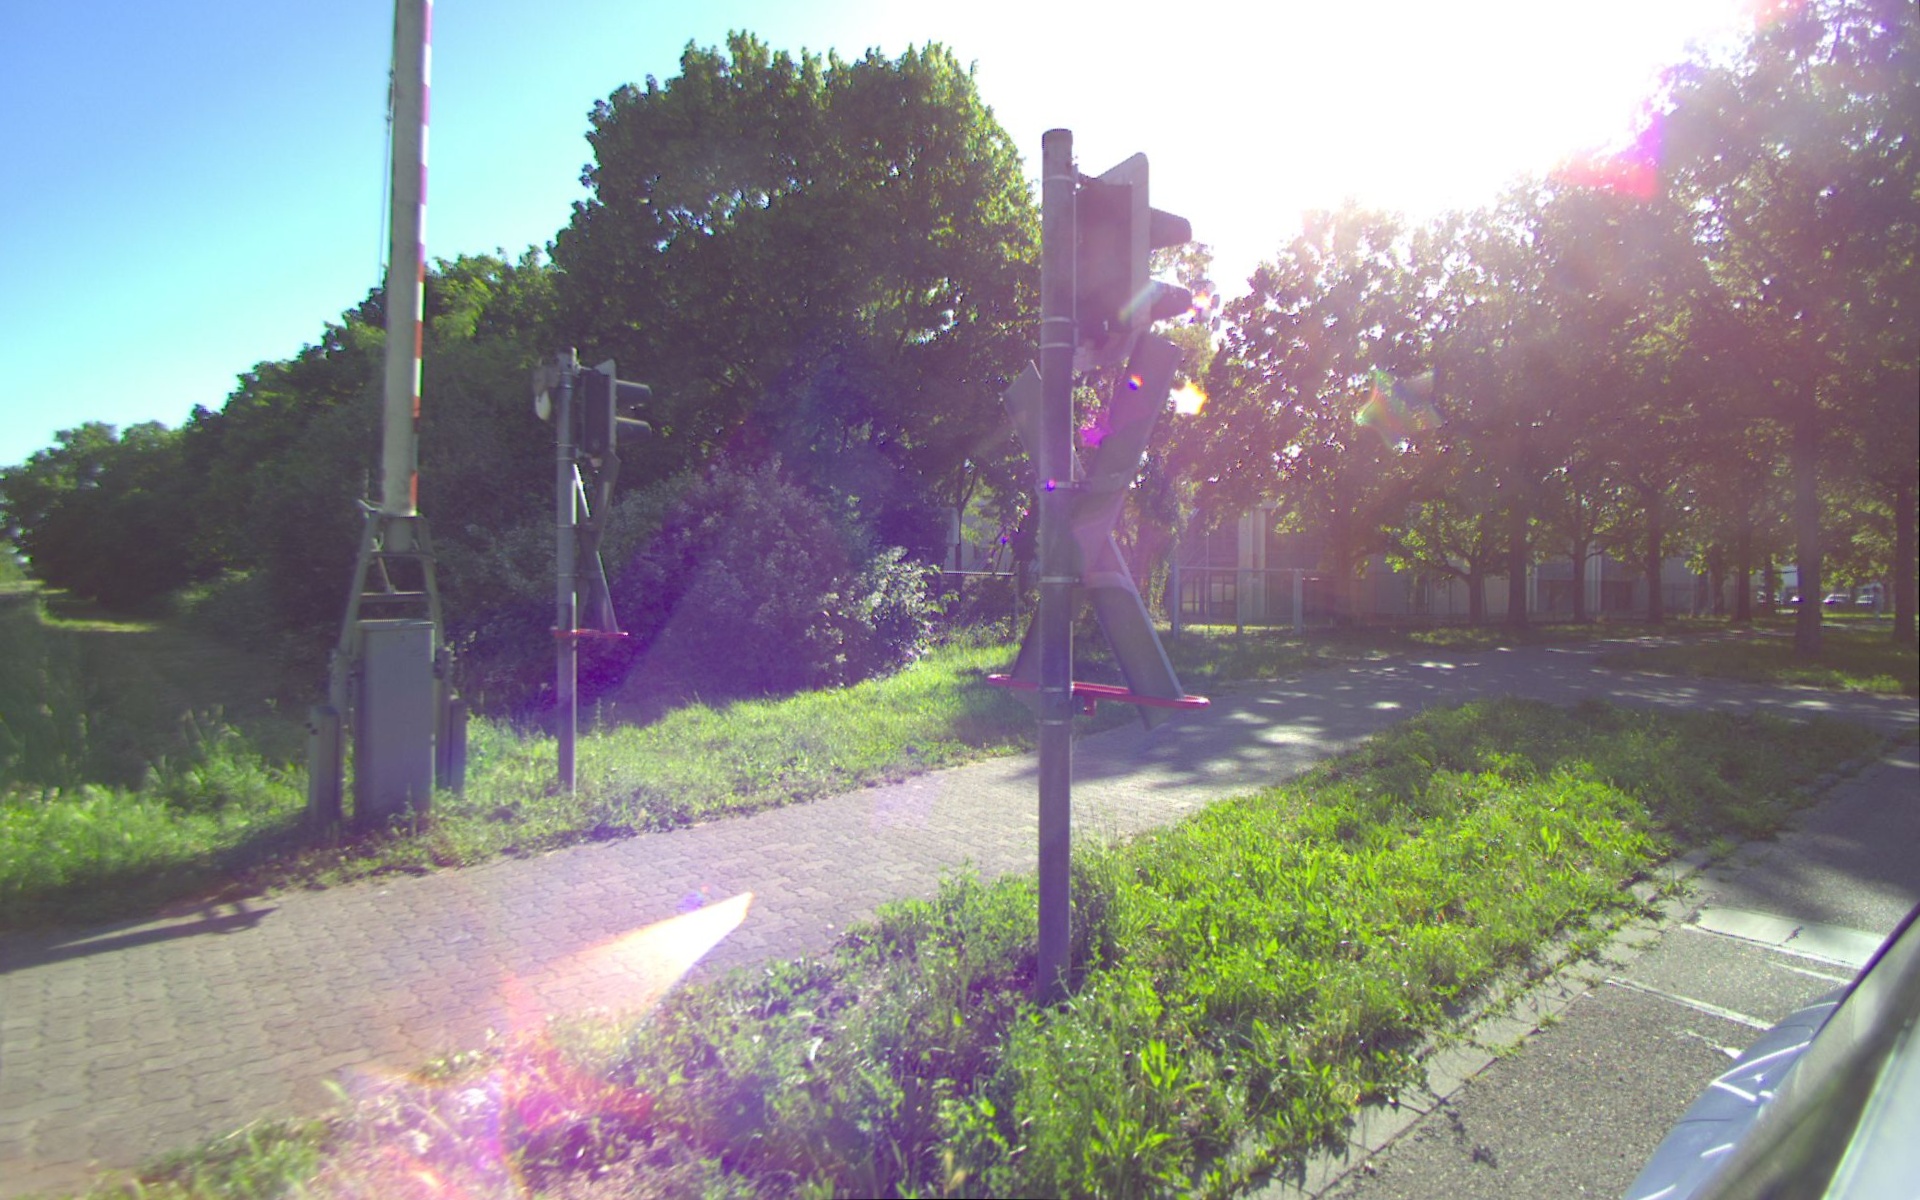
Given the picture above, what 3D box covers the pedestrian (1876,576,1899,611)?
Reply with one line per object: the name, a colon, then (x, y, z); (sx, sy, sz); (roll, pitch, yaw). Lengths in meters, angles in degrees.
pedestrian: (44.281, -0.306, 48.319); (0.706, 1.651, 0.610); (0, 3, -36)
